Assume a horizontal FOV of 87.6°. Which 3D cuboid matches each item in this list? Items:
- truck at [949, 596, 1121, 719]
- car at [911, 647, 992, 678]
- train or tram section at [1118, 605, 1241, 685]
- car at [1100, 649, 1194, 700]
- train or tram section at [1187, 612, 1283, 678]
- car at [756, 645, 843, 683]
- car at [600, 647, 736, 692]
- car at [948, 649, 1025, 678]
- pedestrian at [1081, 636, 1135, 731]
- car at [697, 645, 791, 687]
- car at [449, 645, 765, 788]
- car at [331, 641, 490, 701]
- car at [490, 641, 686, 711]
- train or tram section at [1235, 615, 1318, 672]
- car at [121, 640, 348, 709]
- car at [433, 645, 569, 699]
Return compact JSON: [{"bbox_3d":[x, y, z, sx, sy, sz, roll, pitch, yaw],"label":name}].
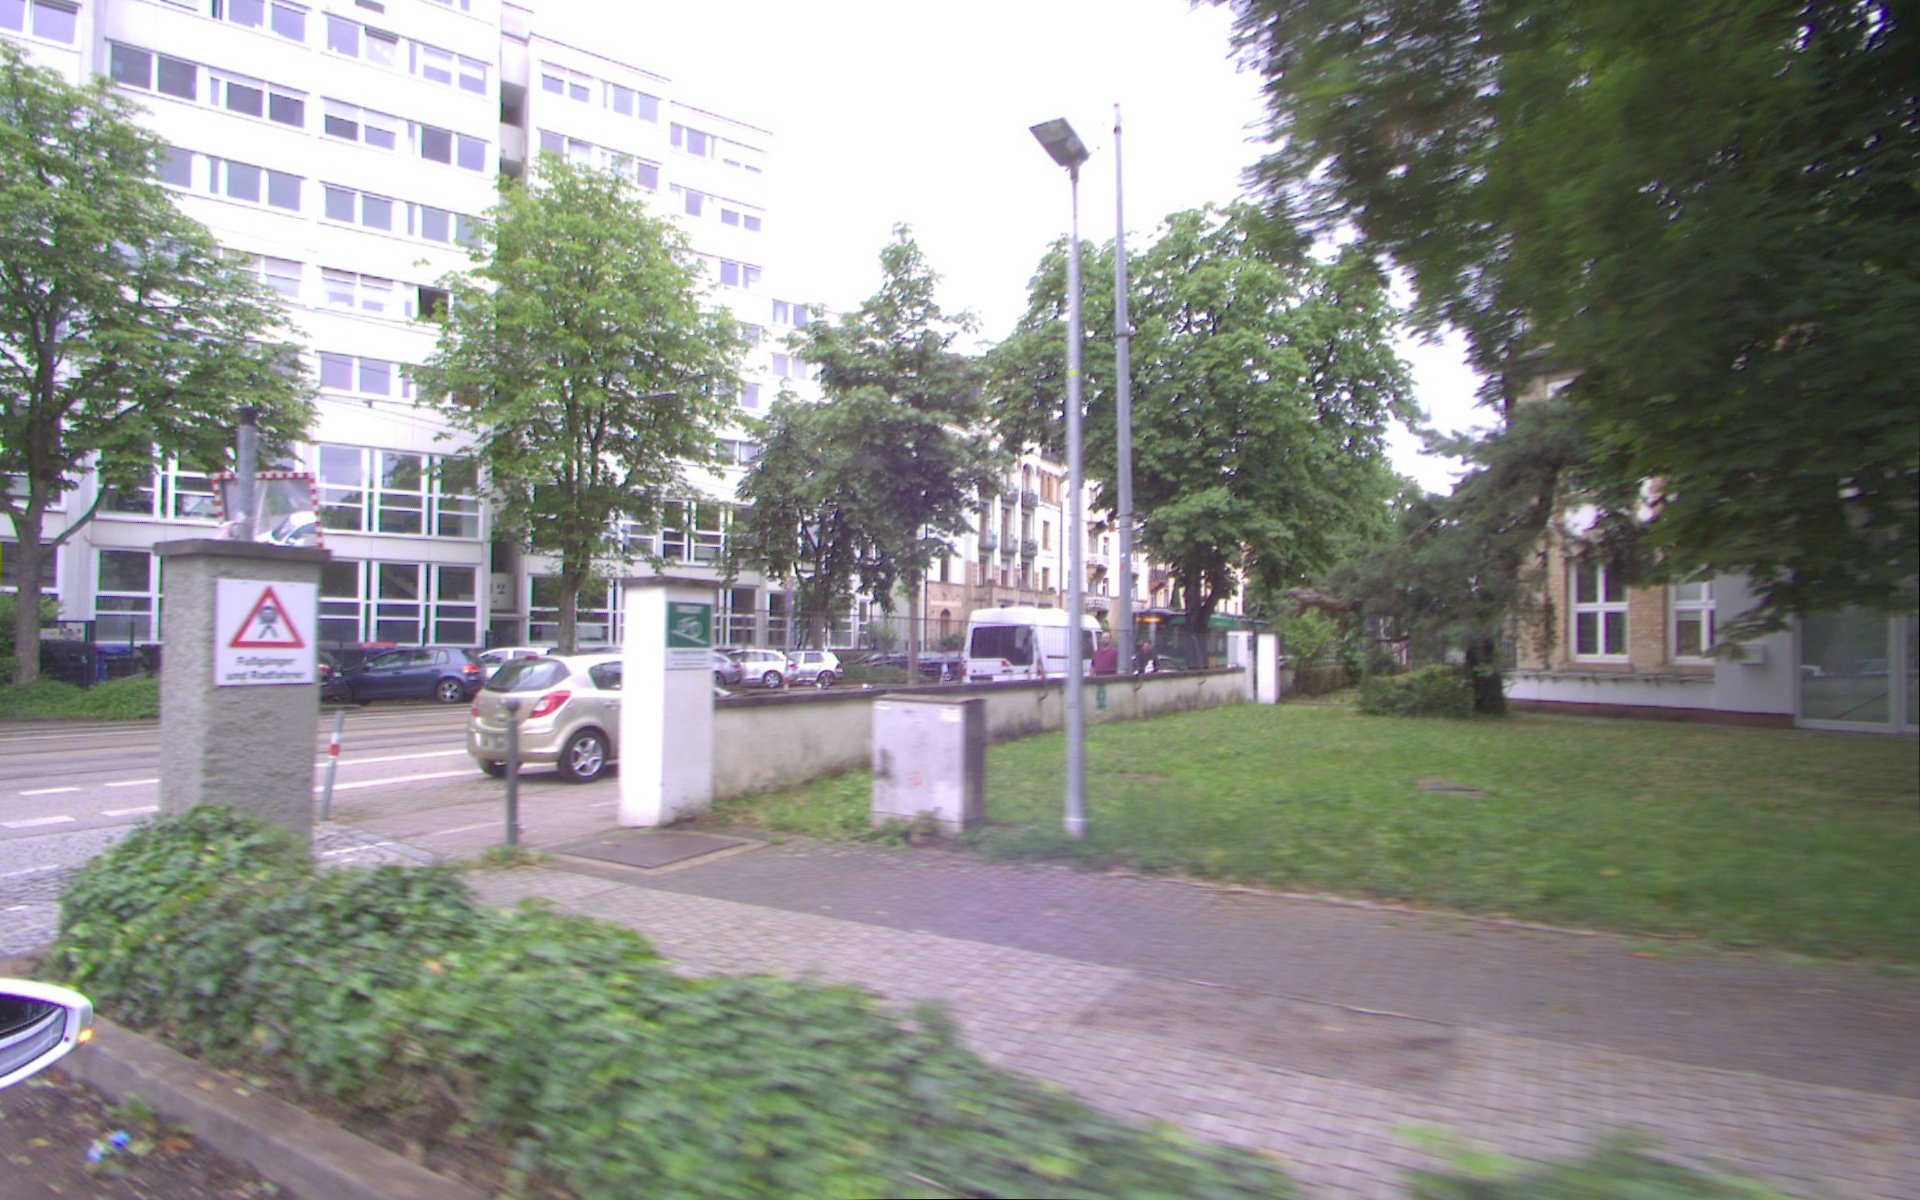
[{"bbox_3d":[1.915,1.309,23.601,2.137,2.578,4.908,-1,-2,30],"label":"truck"},{"bbox_3d":[-0.449,3.019,48.830,3.723,1.460,1.693,1,-2,-9],"label":"car"},{"bbox_3d":[11.685,2.327,51.997,2.628,3.660,12.406,0,-2,30],"label":"train or tram section"},{"bbox_3d":[5.633,2.161,29.869,1.784,1.371,3.799,-1,-2,27],"label":"car"},{"bbox_3d":[17.066,2.724,61.340,2.628,3.660,12.406,0,-2,30],"label":"train or tram section"},{"bbox_3d":[-6.448,2.549,40.114,3.328,1.492,1.416,1,-2,-14],"label":"car"},{"bbox_3d":[-10.045,2.398,34.578,4.419,1.491,1.416,1,-4,-18],"label":"car"},{"bbox_3d":[1.334,3.272,51.764,3.723,1.460,1.693,1,-2,-9],"label":"car"},{"bbox_3d":[2.816,1.556,19.021,0.795,1.740,0.953,0,-2,24],"label":"pedestrian"},{"bbox_3d":[-8.052,2.451,37.338,3.328,1.492,1.416,1,-2,-14],"label":"car"},{"bbox_3d":[-4.306,1.353,12.731,1.641,1.519,3.579,-1,-3,30],"label":"car"},{"bbox_3d":[-14.107,1.798,25.868,3.328,1.492,1.416,1,-2,-14],"label":"car"},{"bbox_3d":[-8.800,1.765,24.048,1.797,1.508,4.237,-1,-3,31],"label":"car"},{"bbox_3d":[22.822,3.095,71.422,2.628,3.660,14.710,0,-2,30],"label":"train or tram section"},{"bbox_3d":[-16.639,1.679,23.179,3.885,1.492,1.671,1,-2,-17],"label":"car"},{"bbox_3d":[-13.149,2.034,28.826,3.328,1.492,1.416,1,-2,-14],"label":"car"}]
